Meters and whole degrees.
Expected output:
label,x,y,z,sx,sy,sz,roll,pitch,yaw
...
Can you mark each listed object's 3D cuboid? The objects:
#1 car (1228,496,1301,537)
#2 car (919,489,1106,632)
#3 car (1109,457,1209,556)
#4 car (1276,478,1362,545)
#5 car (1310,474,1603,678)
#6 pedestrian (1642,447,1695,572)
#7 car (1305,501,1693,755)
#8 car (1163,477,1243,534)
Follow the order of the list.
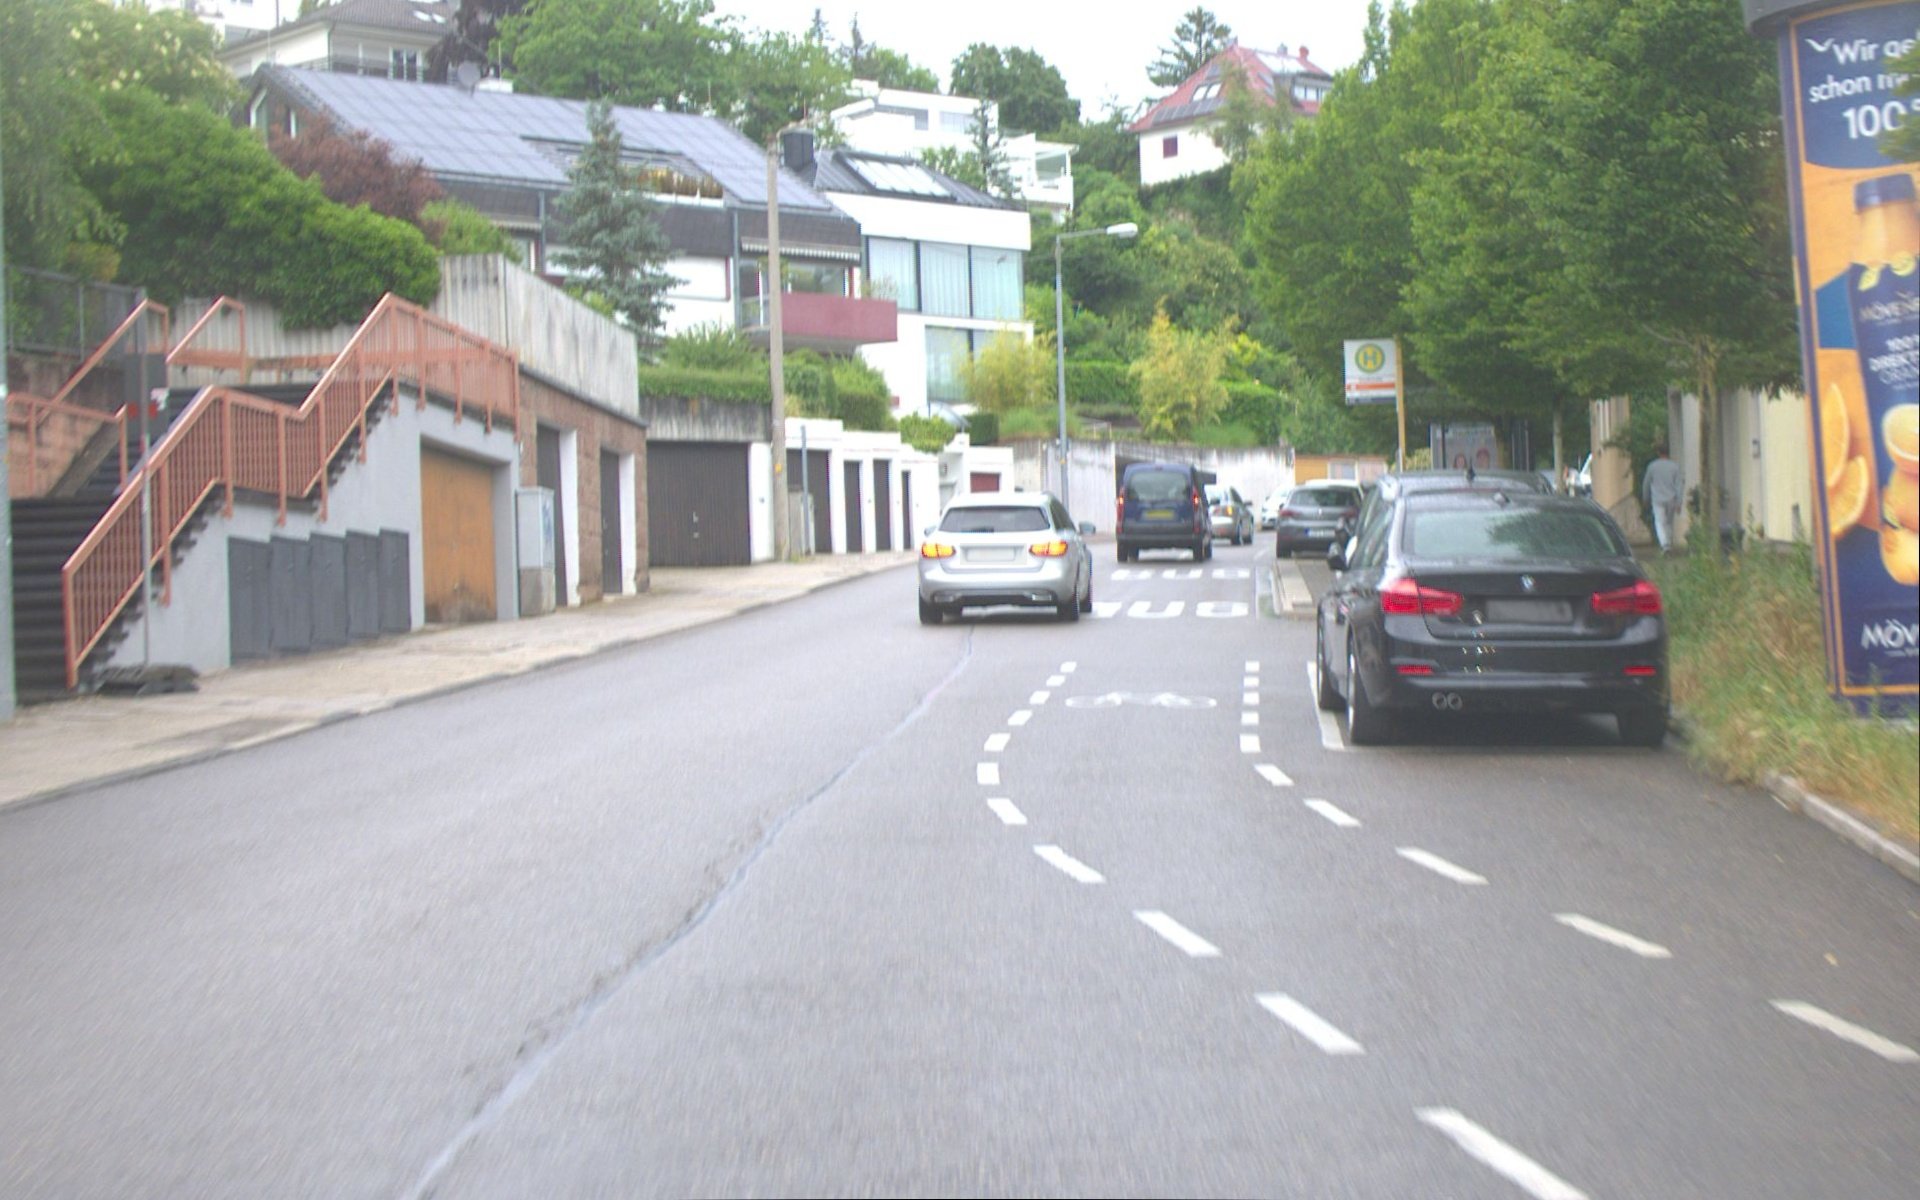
label,x,y,z,sx,sy,sz,roll,pitch,yaw
car,9.818,-2.683,110.626,1.825,1.292,3.998,0,2,13
car,0.649,-0.491,39.155,1.811,1.356,4.000,2,4,5
car,3.786,-1.767,64.925,1.824,1.813,4.000,0,2,4
car,6.959,-1.714,66.503,1.469,1.249,3.581,0,2,9
car,3.711,-0.225,26.266,1.715,1.445,3.833,0,2,1
pedestrian,10.291,-1.316,49.921,0.638,1.789,0.744,0,1,2
car,3.140,0.092,20.828,1.771,1.373,4.349,0,2,2
car,5.702,-2.216,80.411,1.824,1.292,4.000,0,2,5
